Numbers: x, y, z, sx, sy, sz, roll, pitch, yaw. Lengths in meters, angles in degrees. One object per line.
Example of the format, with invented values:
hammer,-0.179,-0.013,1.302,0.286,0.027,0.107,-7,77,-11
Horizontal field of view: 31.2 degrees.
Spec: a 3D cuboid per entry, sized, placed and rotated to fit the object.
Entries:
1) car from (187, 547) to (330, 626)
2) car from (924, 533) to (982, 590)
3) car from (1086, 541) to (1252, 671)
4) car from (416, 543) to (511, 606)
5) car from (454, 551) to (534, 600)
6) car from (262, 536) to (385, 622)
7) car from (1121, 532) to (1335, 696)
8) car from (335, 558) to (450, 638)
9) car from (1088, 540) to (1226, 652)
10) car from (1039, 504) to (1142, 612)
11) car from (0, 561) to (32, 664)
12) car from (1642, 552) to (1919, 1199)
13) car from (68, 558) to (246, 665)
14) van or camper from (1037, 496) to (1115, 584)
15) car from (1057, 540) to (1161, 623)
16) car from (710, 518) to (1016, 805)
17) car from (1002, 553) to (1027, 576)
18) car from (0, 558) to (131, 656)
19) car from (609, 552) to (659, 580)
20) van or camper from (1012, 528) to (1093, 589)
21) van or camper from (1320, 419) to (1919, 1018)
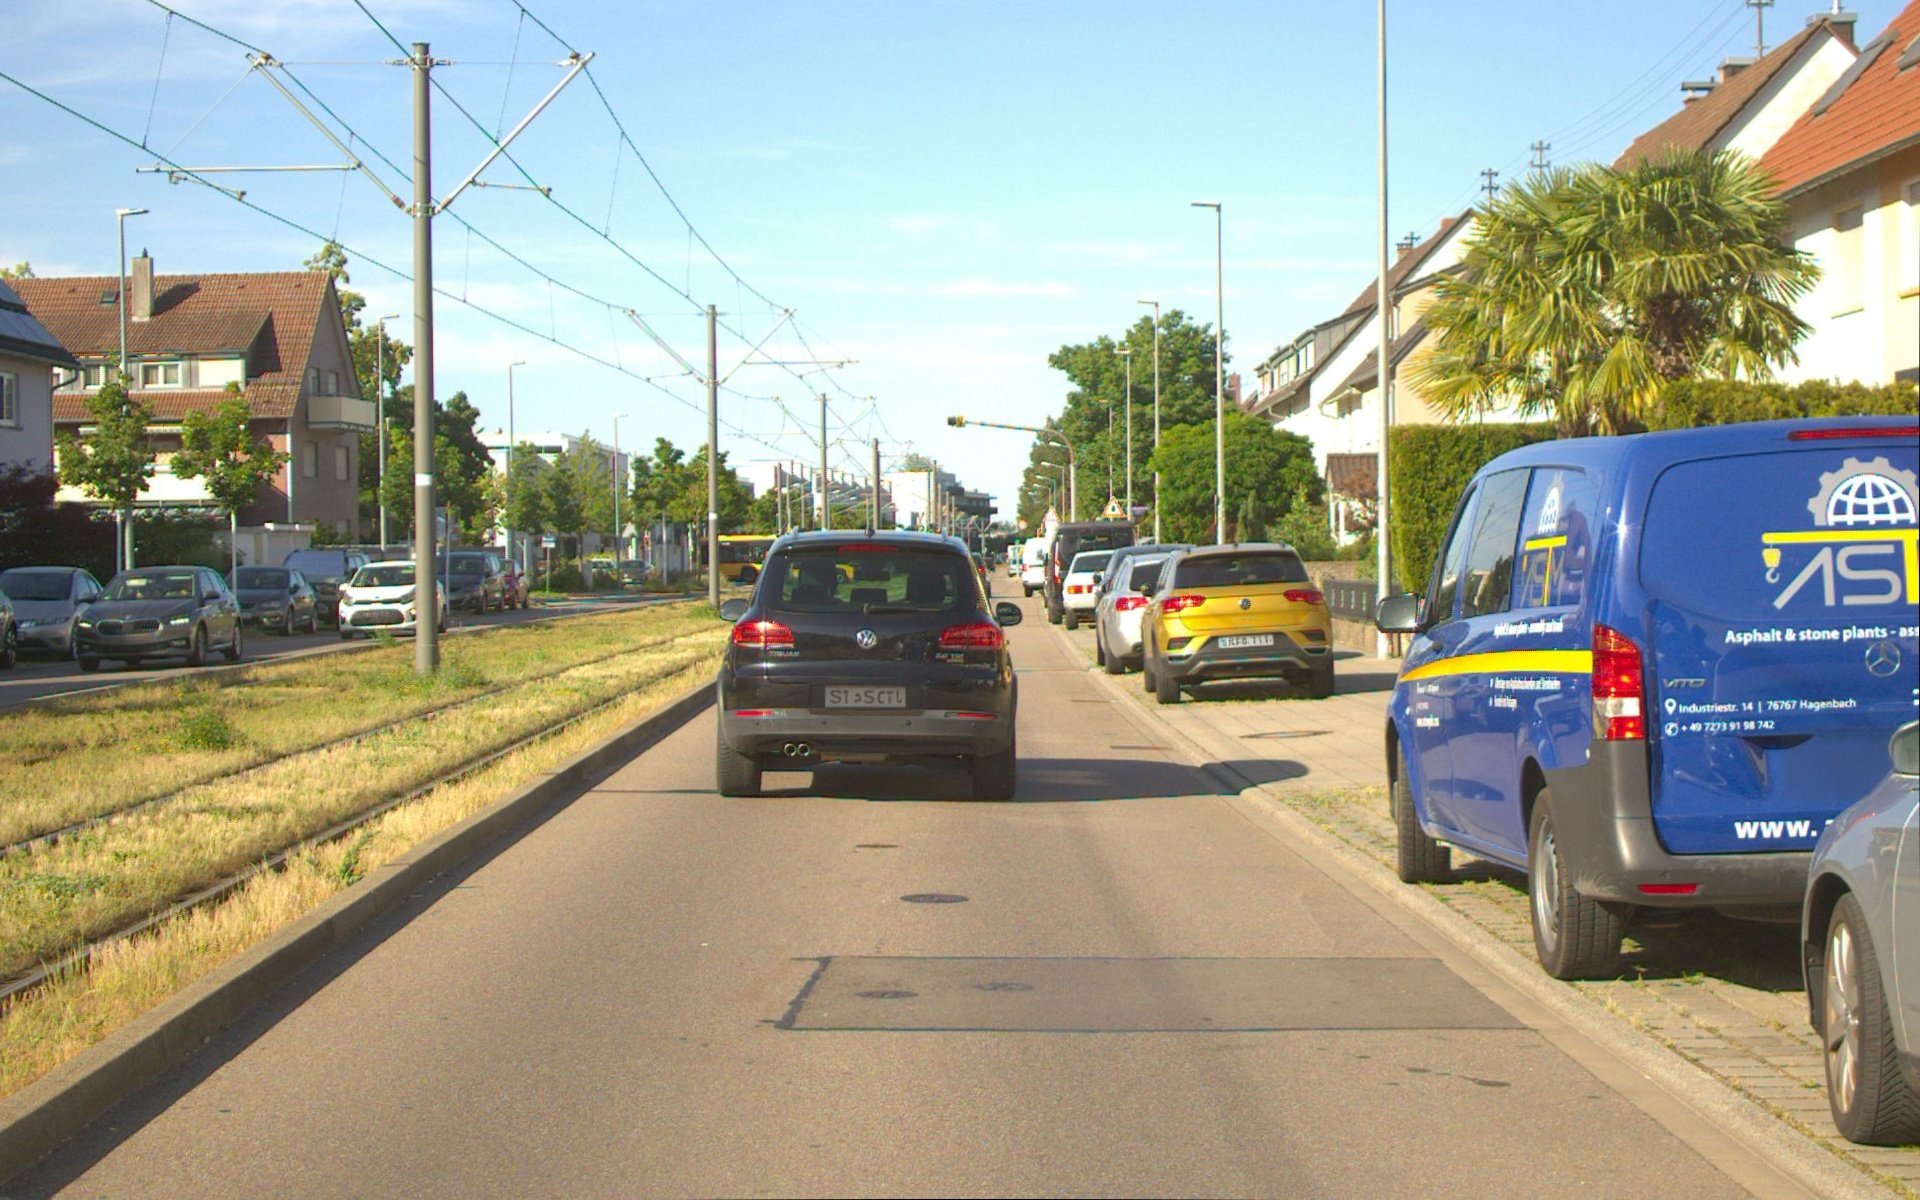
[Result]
car,-14.369,-0.284,70.662,1.960,1.535,4.557,1,0,1
car,-0.251,-1.275,112.496,1.627,1.822,4.131,-1,1,-3
car,2.580,0.030,43.284,1.748,1.442,4.699,-1,2,0
car,-13.822,-0.719,95.944,1.819,1.678,4.846,1,1,1
car,-13.769,-0.739,101.685,1.695,1.400,4.078,-1,1,1
car,-14.182,-0.482,76.810,1.745,1.817,4.841,1,1,1
car,2.722,0.110,35.937,1.805,1.553,4.927,-2,1,0
car,-10.993,-0.055,66.791,1.688,1.470,3.680,1,0,-1
car,2.754,-0.093,48.958,1.777,1.493,4.728,-1,1,1
car,2.716,-0.885,72.571,1.960,2.137,5.335,-2,1,1
car,-14.487,0.170,48.491,1.688,1.467,4.315,1,0,-1
car,3.018,0.629,7.292,1.730,1.453,5.286,-1,1,-4
car,-11.598,0.139,49.876,1.688,1.470,4.083,1,0,-1
van or camper,3.170,-1.630,95.084,1.993,2.263,6.304,-2,0,1
car,2.822,-0.384,65.815,1.853,1.439,5.613,-2,1,2
car,-0.606,0.345,22.214,1.775,1.664,4.000,1,0,-1
car,4.100,-2.687,259.015,1.775,1.664,4.000,-1,1,-1
car,-14.482,0.086,54.488,1.688,1.470,4.443,1,0,-1
car,-17.217,-1.779,181.828,1.811,1.456,4.316,1,0,5
van or camper,3.148,-1.414,115.761,2.028,1.950,5.293,-1,1,9
van or camper,2.774,0.328,13.546,1.949,1.840,5.583,-2,1,-1
